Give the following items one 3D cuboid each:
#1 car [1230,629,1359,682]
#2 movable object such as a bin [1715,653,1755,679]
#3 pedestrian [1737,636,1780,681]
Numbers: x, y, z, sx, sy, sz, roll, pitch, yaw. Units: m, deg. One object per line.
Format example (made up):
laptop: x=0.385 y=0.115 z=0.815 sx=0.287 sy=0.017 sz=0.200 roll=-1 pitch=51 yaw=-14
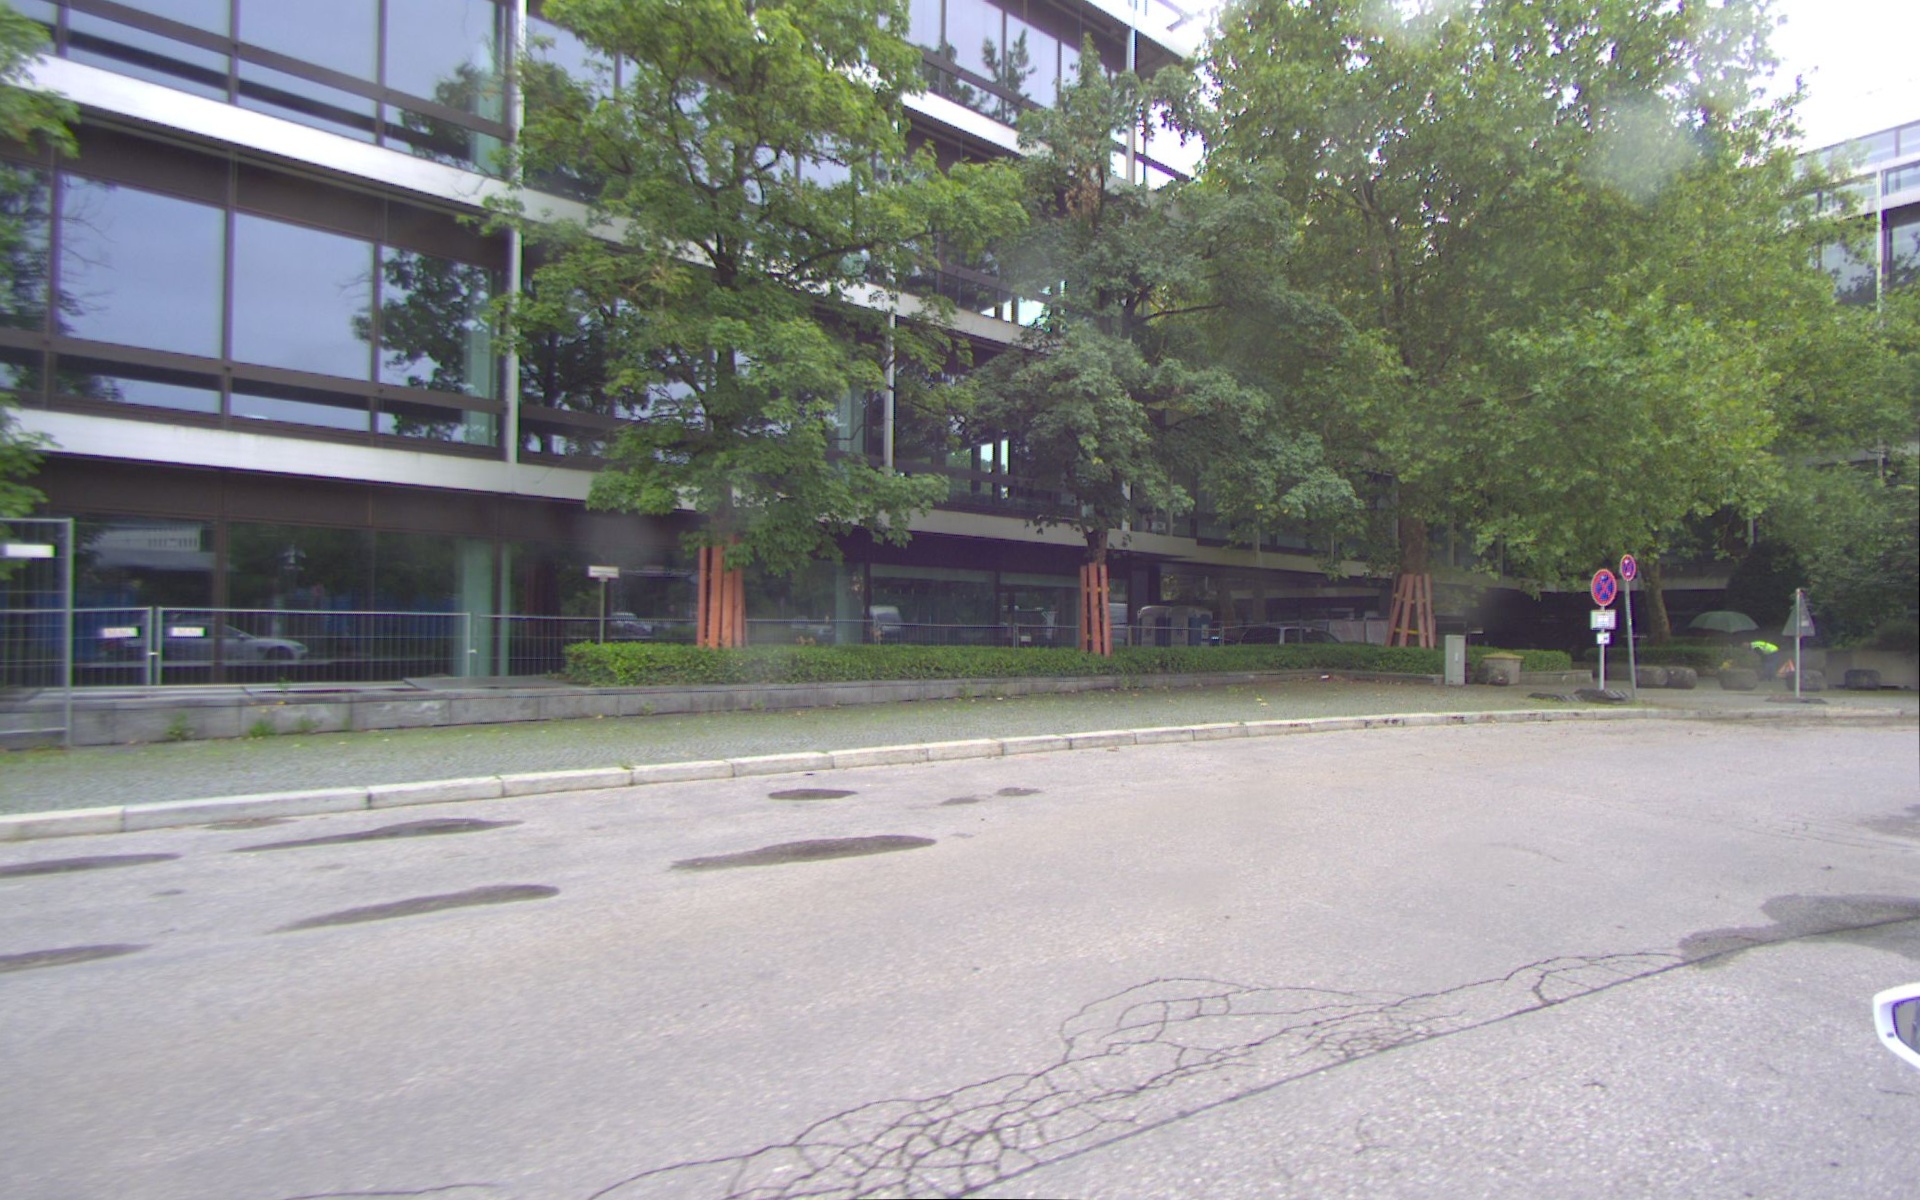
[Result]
car: x=10.043 y=1.618 z=30.079 sx=3.825 sy=1.493 sz=1.893 roll=2 pitch=-2 yaw=-37
movable object such as a bin: x=23.564 y=2.006 z=30.543 sx=0.567 sy=0.763 sz=0.829 roll=1 pitch=-1 yaw=-36
pedestrian: x=23.938 y=1.747 z=30.123 sx=0.537 sy=1.295 sz=0.919 roll=1 pitch=-1 yaw=-36
